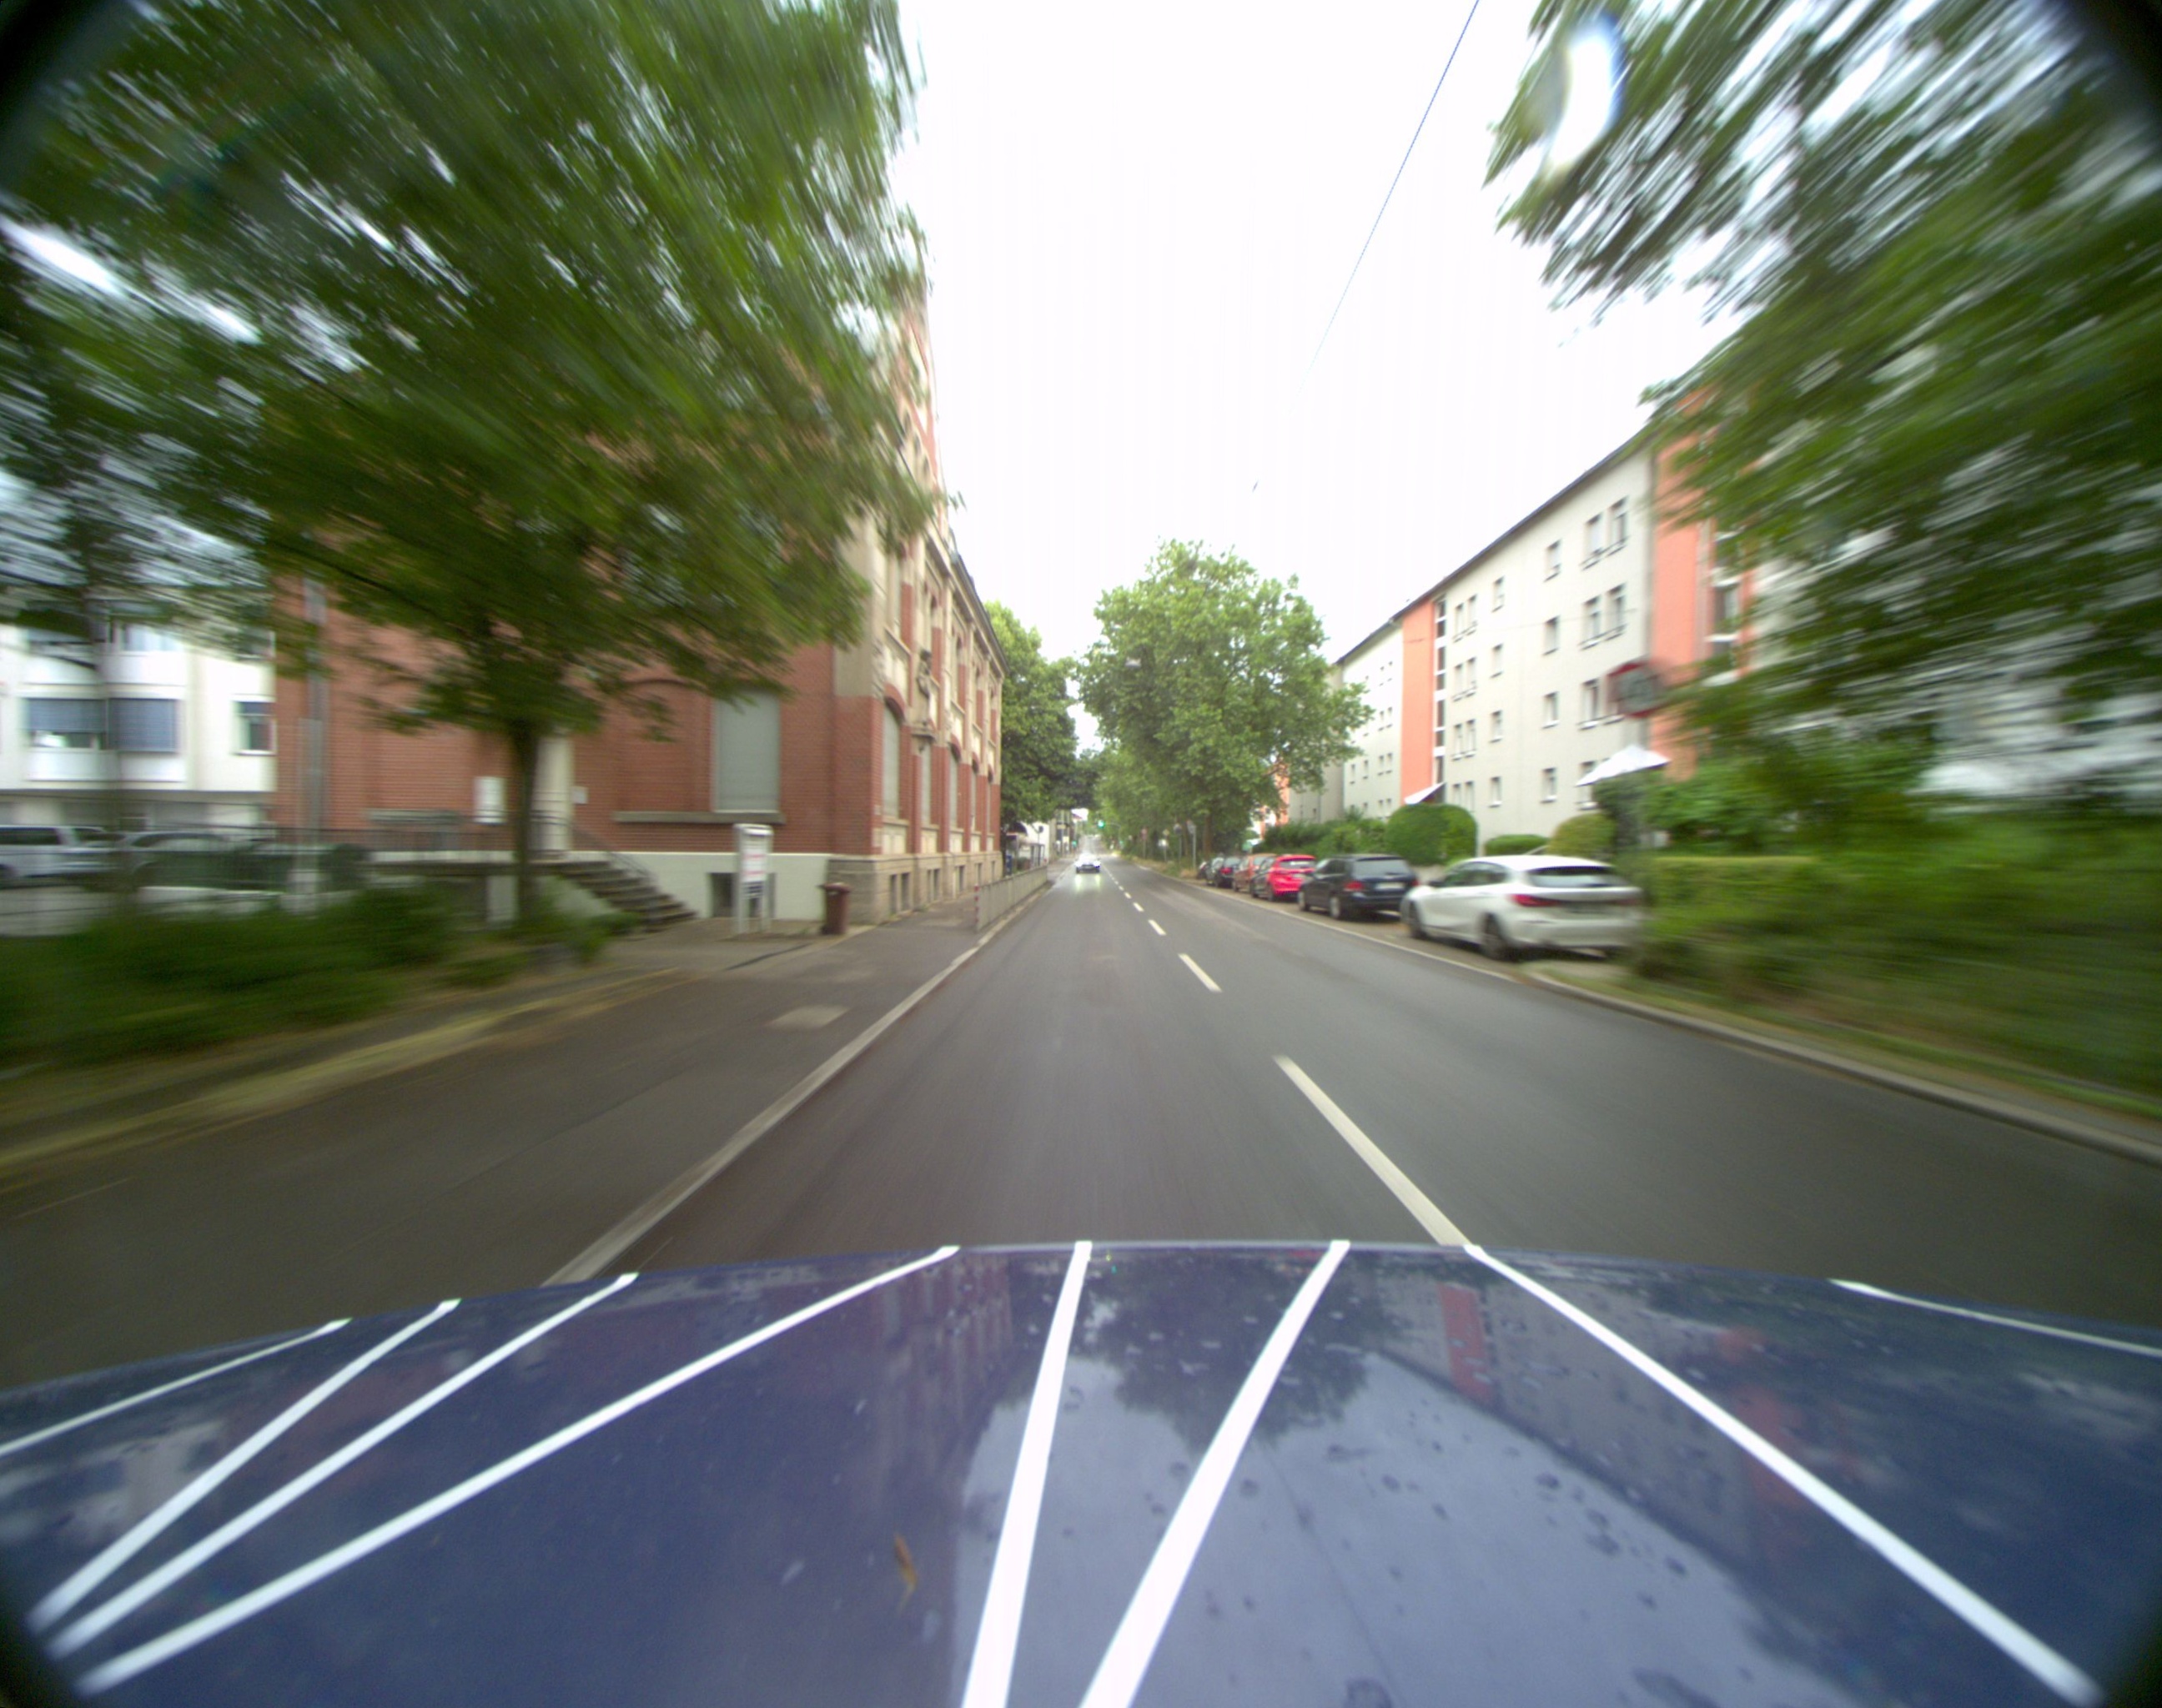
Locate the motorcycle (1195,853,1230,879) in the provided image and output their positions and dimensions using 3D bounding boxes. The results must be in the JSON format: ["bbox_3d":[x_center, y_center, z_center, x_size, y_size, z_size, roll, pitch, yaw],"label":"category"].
[{"bbox_3d":[6.959,0.632,40.159,1.717,1.332,0.722,1,1,1],"label":"motorcycle"}]

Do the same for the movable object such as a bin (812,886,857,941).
[{"bbox_3d":[-4.432,1.056,13.690,0.592,0.927,0.572,2,1,0],"label":"movable object such as a bin"}]

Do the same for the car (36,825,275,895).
[{"bbox_3d":[-26.582,0.112,22.079,1.913,1.808,3.997,-2,1,1],"label":"car"}]

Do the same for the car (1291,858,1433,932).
[{"bbox_3d":[6.412,0.863,17.861,1.721,1.459,4.233,-1,0,-1],"label":"car"}]

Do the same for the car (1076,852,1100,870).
[{"bbox_3d":[0.488,0.506,58.257,1.692,1.334,3.999,0,1,-2],"label":"car"}]

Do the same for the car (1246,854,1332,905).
[{"bbox_3d":[6.596,0.766,24.466,1.721,1.459,3.755,-1,1,-1],"label":"car"}]

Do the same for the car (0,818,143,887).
[{"bbox_3d":[-31.261,-0.042,22.483,1.913,1.938,3.997,-2,1,1],"label":"car"}]

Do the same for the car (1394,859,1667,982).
[{"bbox_3d":[6.476,0.841,11.609,1.721,1.459,4.309,-1,0,2],"label":"car"}]

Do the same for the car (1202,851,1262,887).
[{"bbox_3d":[6.863,0.657,35.089,1.721,1.500,4.803,-1,0,-1],"label":"car"}]

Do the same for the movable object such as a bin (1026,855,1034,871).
[{"bbox_3d":[-3.541,0.602,53.248,0.506,1.109,0.618,0,1,1],"label":"movable object such as a bin"}]

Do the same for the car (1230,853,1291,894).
[{"bbox_3d":[6.931,0.704,29.644,1.559,1.459,3.396,-1,1,-1],"label":"car"}]
